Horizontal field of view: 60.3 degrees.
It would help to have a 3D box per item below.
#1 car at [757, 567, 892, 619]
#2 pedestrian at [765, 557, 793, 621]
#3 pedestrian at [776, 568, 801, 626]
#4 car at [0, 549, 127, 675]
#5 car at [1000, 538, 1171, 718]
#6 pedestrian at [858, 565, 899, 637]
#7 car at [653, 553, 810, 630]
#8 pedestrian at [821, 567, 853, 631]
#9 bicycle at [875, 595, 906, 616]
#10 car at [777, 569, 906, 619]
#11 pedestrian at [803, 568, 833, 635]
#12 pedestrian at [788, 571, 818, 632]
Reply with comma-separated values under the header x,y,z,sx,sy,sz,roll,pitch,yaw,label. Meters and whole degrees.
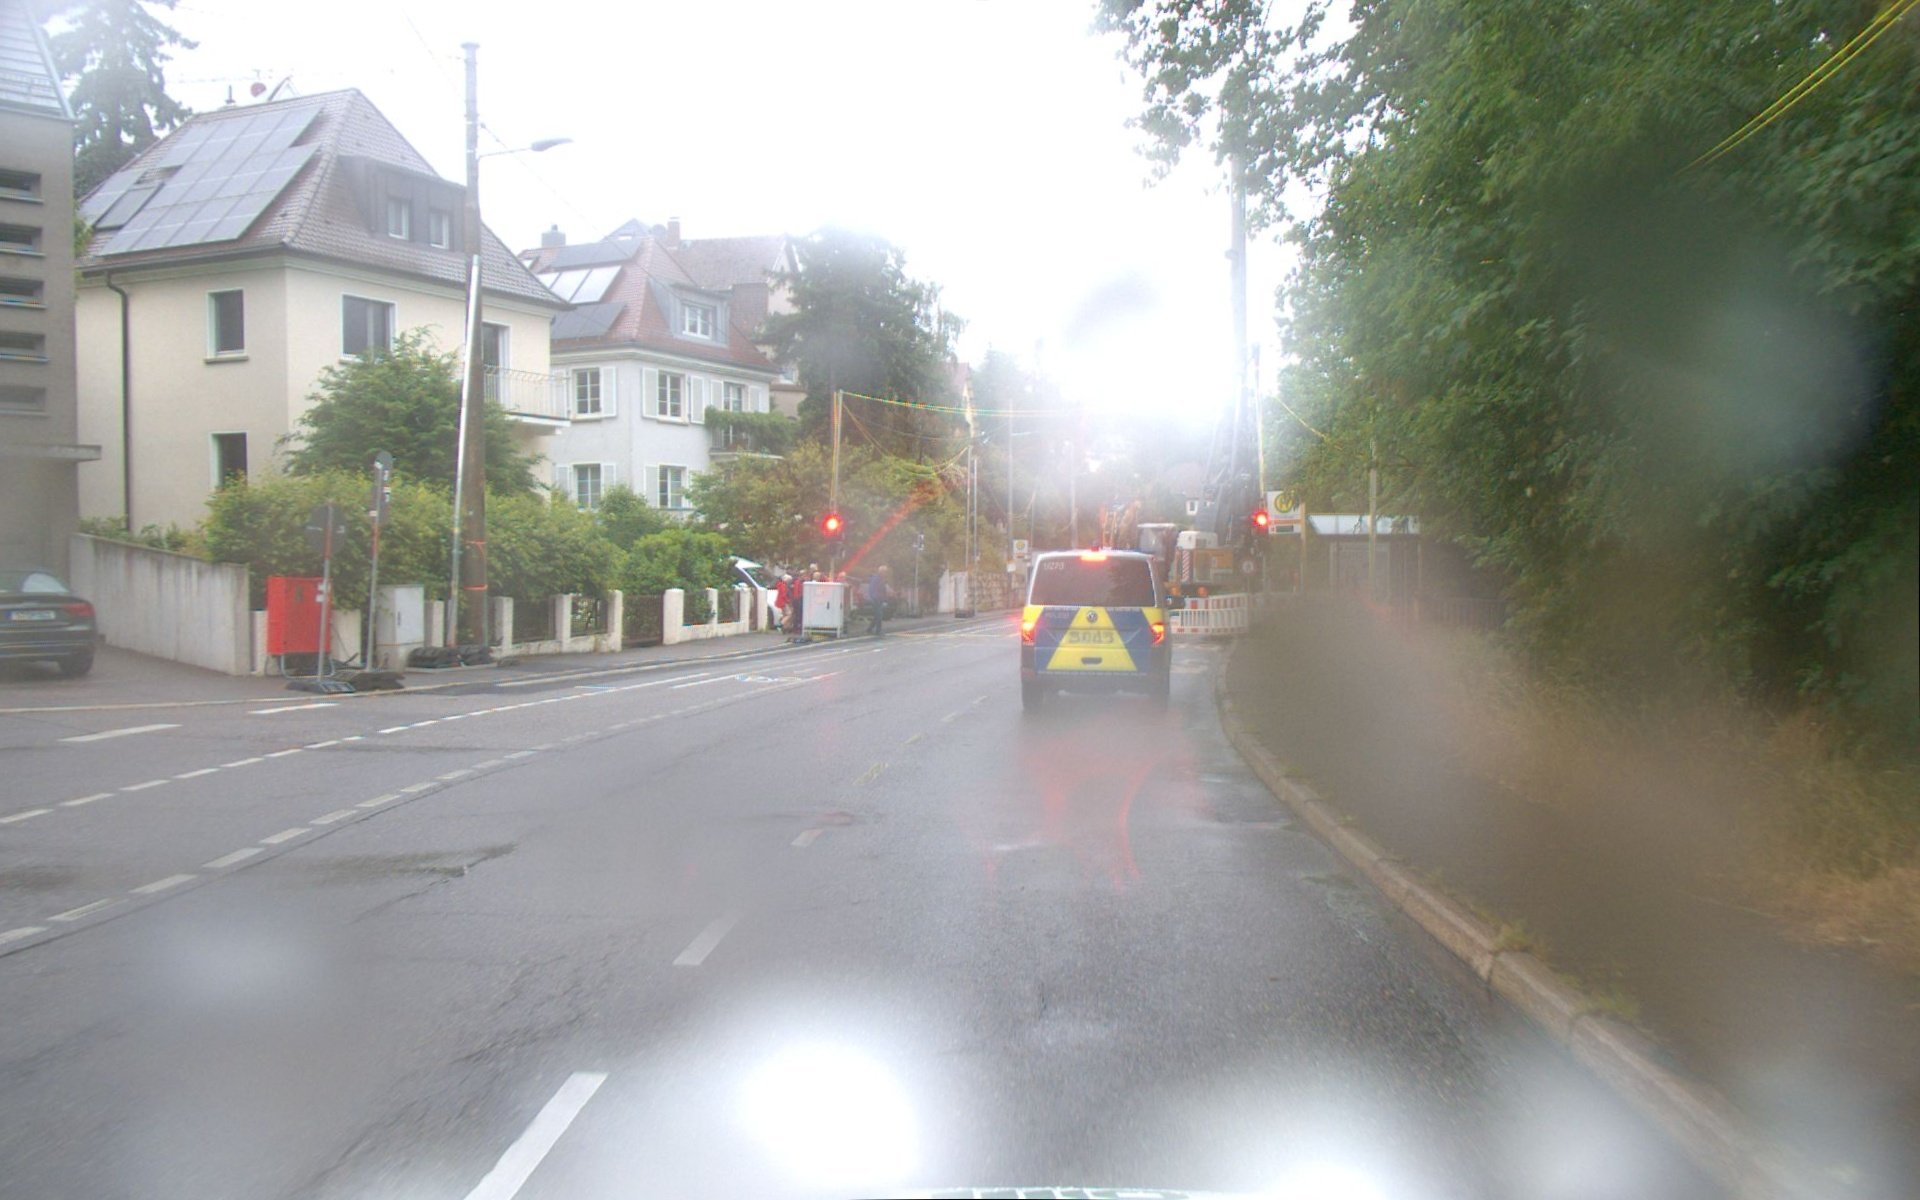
x,y,z,sx,sy,sz,roll,pitch,yaw,label
-4.364,-0.220,53.309,3.903,1.512,1.760,2,-1,17,car
-4.648,-0.290,42.533,0.551,1.610,0.468,2,-2,8,pedestrian
-4.565,-0.082,44.089,0.514,1.533,0.429,2,-2,8,pedestrian
-12.361,0.087,20.965,3.926,1.469,1.830,2,1,40,car
1.615,0.283,21.801,1.952,2.048,4.404,2,1,3,car
-2.118,0.024,43.020,0.871,1.818,0.829,2,-2,5,pedestrian
-6.349,-0.247,46.035,3.903,2.049,1.831,1,0,18,car
-3.173,-0.023,42.821,0.671,1.632,0.606,2,-2,5,pedestrian
-2.455,0.193,58.208,1.031,0.674,0.320,2,-2,17,bicycle
-3.951,-0.204,55.426,3.903,1.512,1.760,2,-1,17,car
-3.813,0.049,44.307,0.613,1.745,0.593,2,-2,8,pedestrian
-4.100,0.047,43.259,0.613,1.548,0.593,2,-2,8,pedestrian
